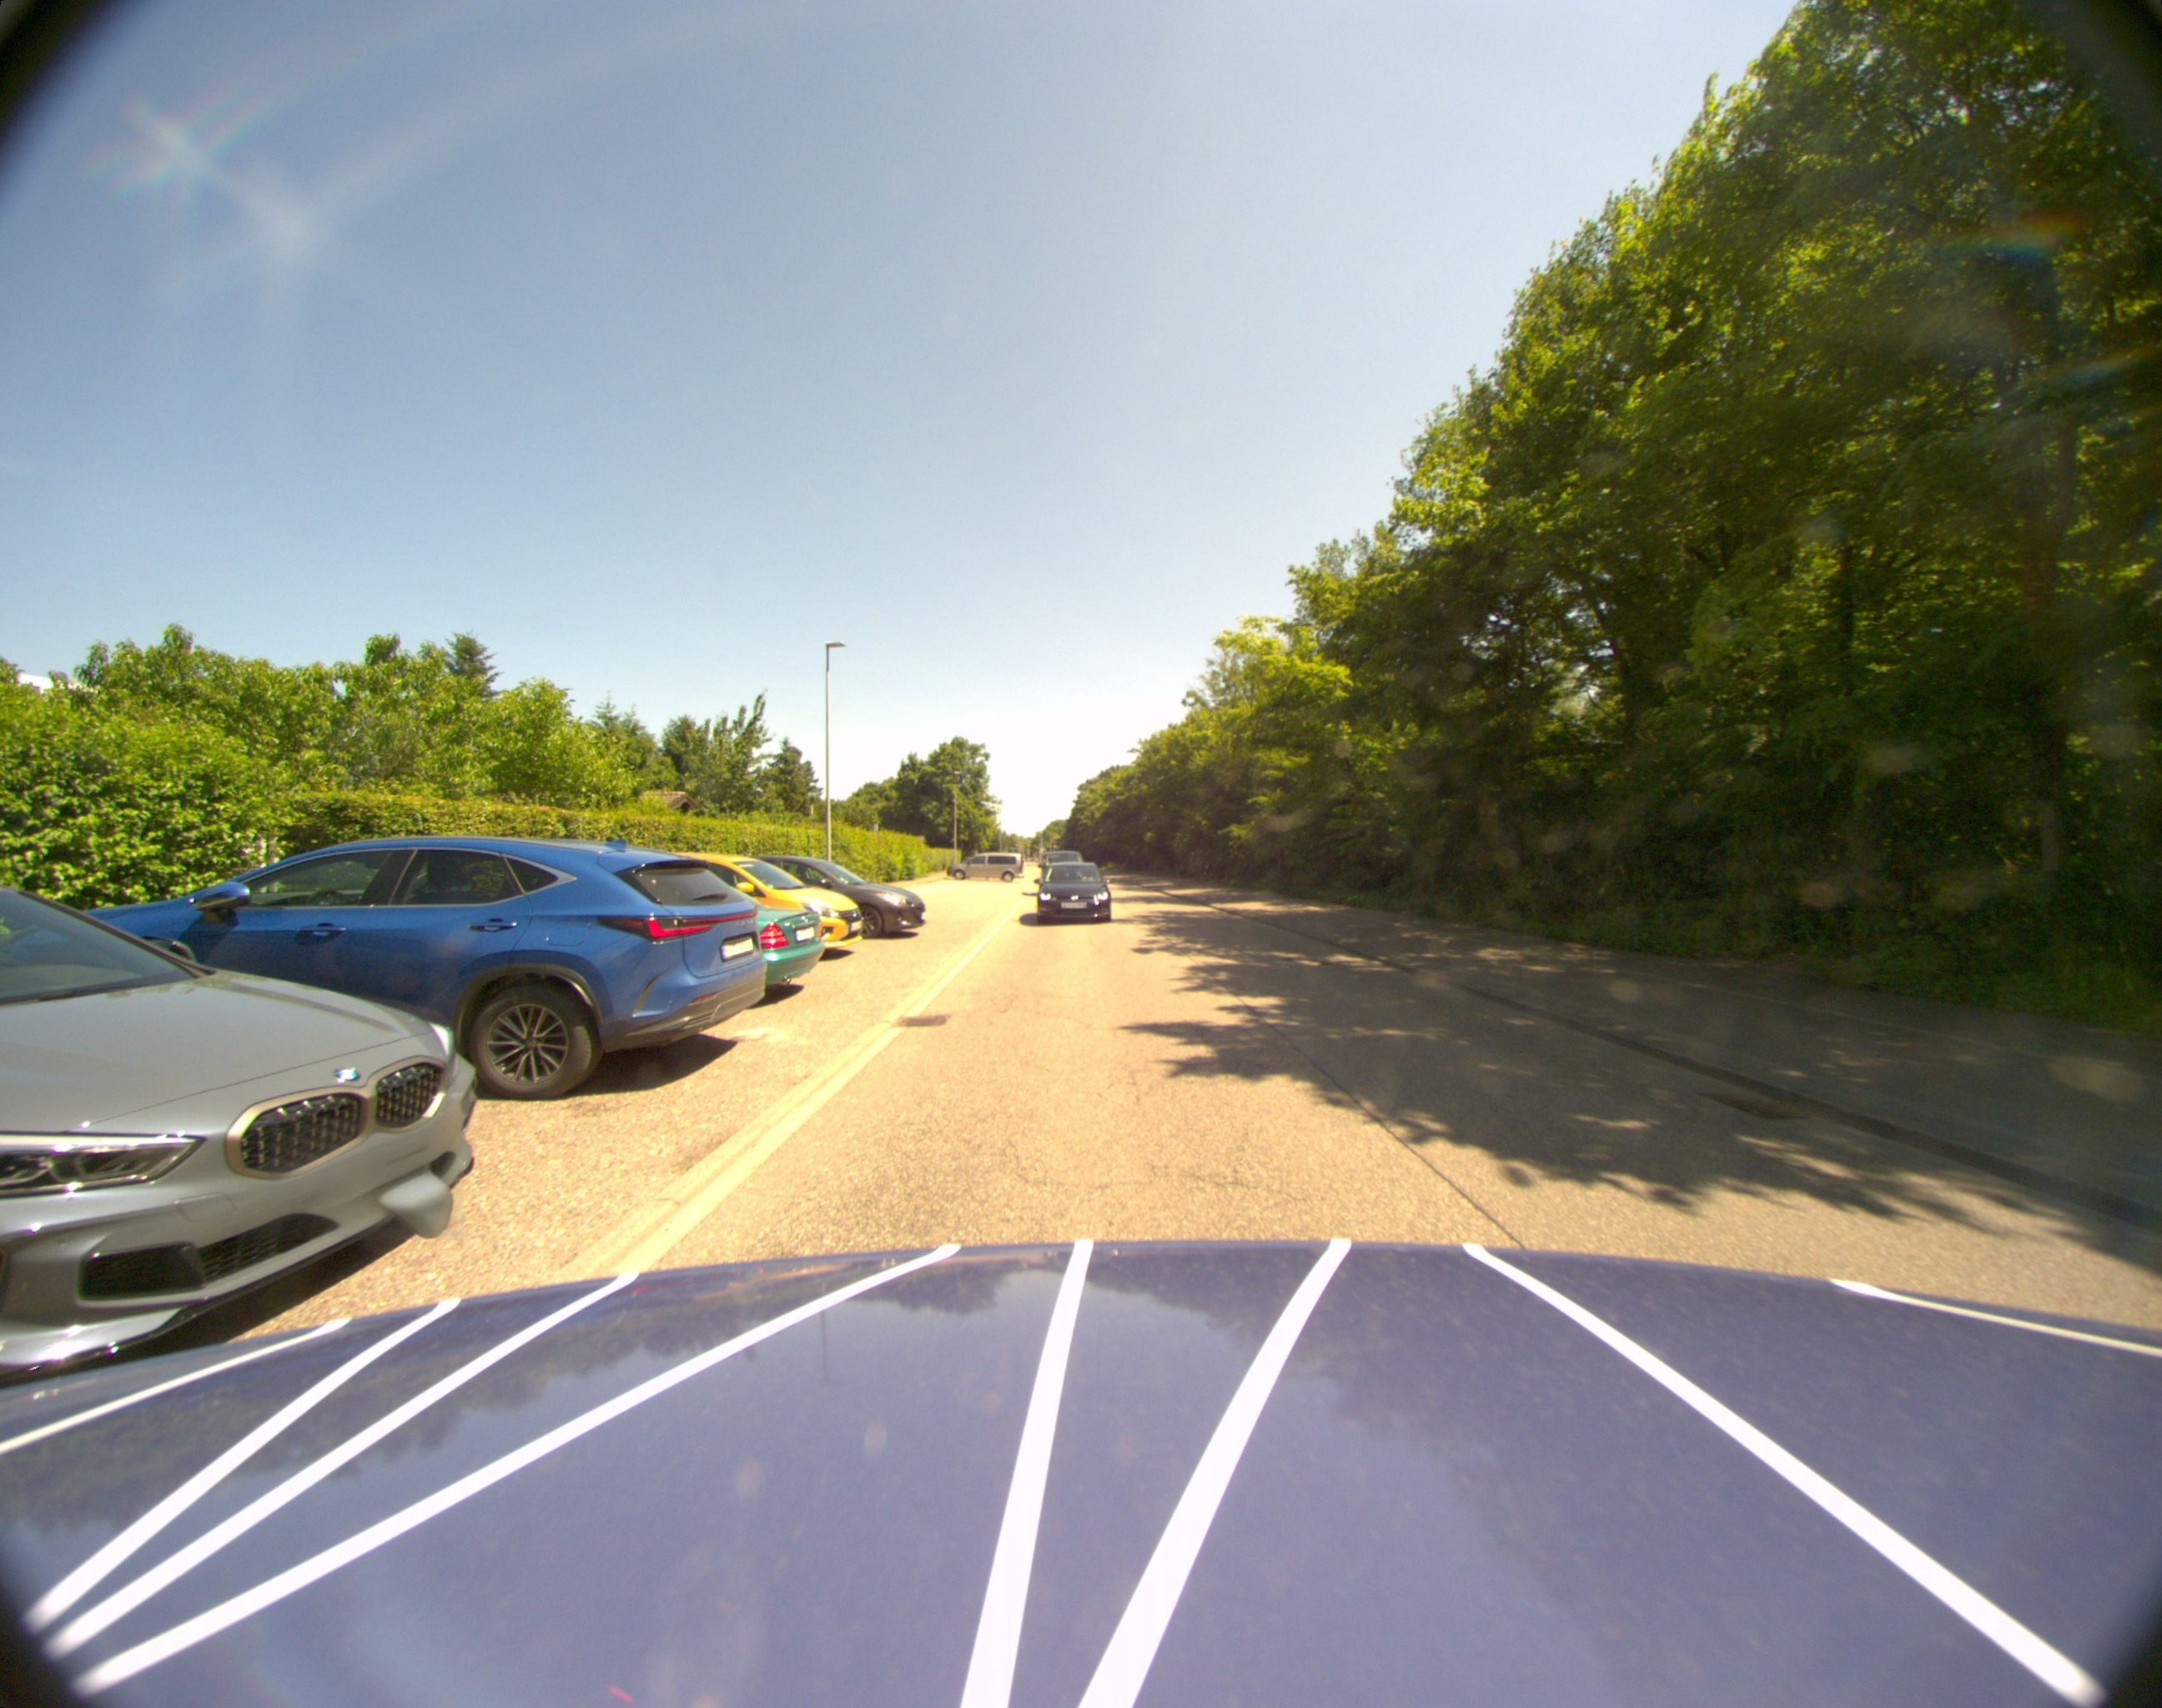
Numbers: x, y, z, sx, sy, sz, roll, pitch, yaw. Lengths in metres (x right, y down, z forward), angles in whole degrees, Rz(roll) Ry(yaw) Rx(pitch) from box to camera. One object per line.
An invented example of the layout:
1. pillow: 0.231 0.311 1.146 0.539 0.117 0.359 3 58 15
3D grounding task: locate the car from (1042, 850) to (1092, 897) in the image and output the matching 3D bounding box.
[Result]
1. car: -0.708 0.831 34.090 2.002 1.965 4.448 0 0 -4

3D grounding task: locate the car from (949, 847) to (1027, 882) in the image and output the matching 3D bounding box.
1. car: -5.855 0.659 48.155 4.634 1.837 1.995 4 0 -3

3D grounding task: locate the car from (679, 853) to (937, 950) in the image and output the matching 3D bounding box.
1. car: -5.025 0.844 14.459 4.175 1.487 1.882 3 1 -2

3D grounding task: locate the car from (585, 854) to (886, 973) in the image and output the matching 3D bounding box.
1. car: -5.212 0.829 11.711 3.808 1.446 1.776 3 1 8

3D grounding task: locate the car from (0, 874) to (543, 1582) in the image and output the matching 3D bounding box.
1. car: -4.548 0.832 2.512 4.141 1.431 1.814 4 1 -2

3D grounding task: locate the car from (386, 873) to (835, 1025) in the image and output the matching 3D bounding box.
1. car: -4.818 0.951 8.199 3.745 1.260 1.628 3 -1 -2

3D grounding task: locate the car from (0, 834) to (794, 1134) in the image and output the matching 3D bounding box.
1. car: -4.565 0.787 5.453 4.249 1.624 1.822 3 0 -2

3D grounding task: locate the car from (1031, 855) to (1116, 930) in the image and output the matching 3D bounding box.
1. car: -0.236 0.874 19.510 1.887 1.667 4.662 1 0 -2
